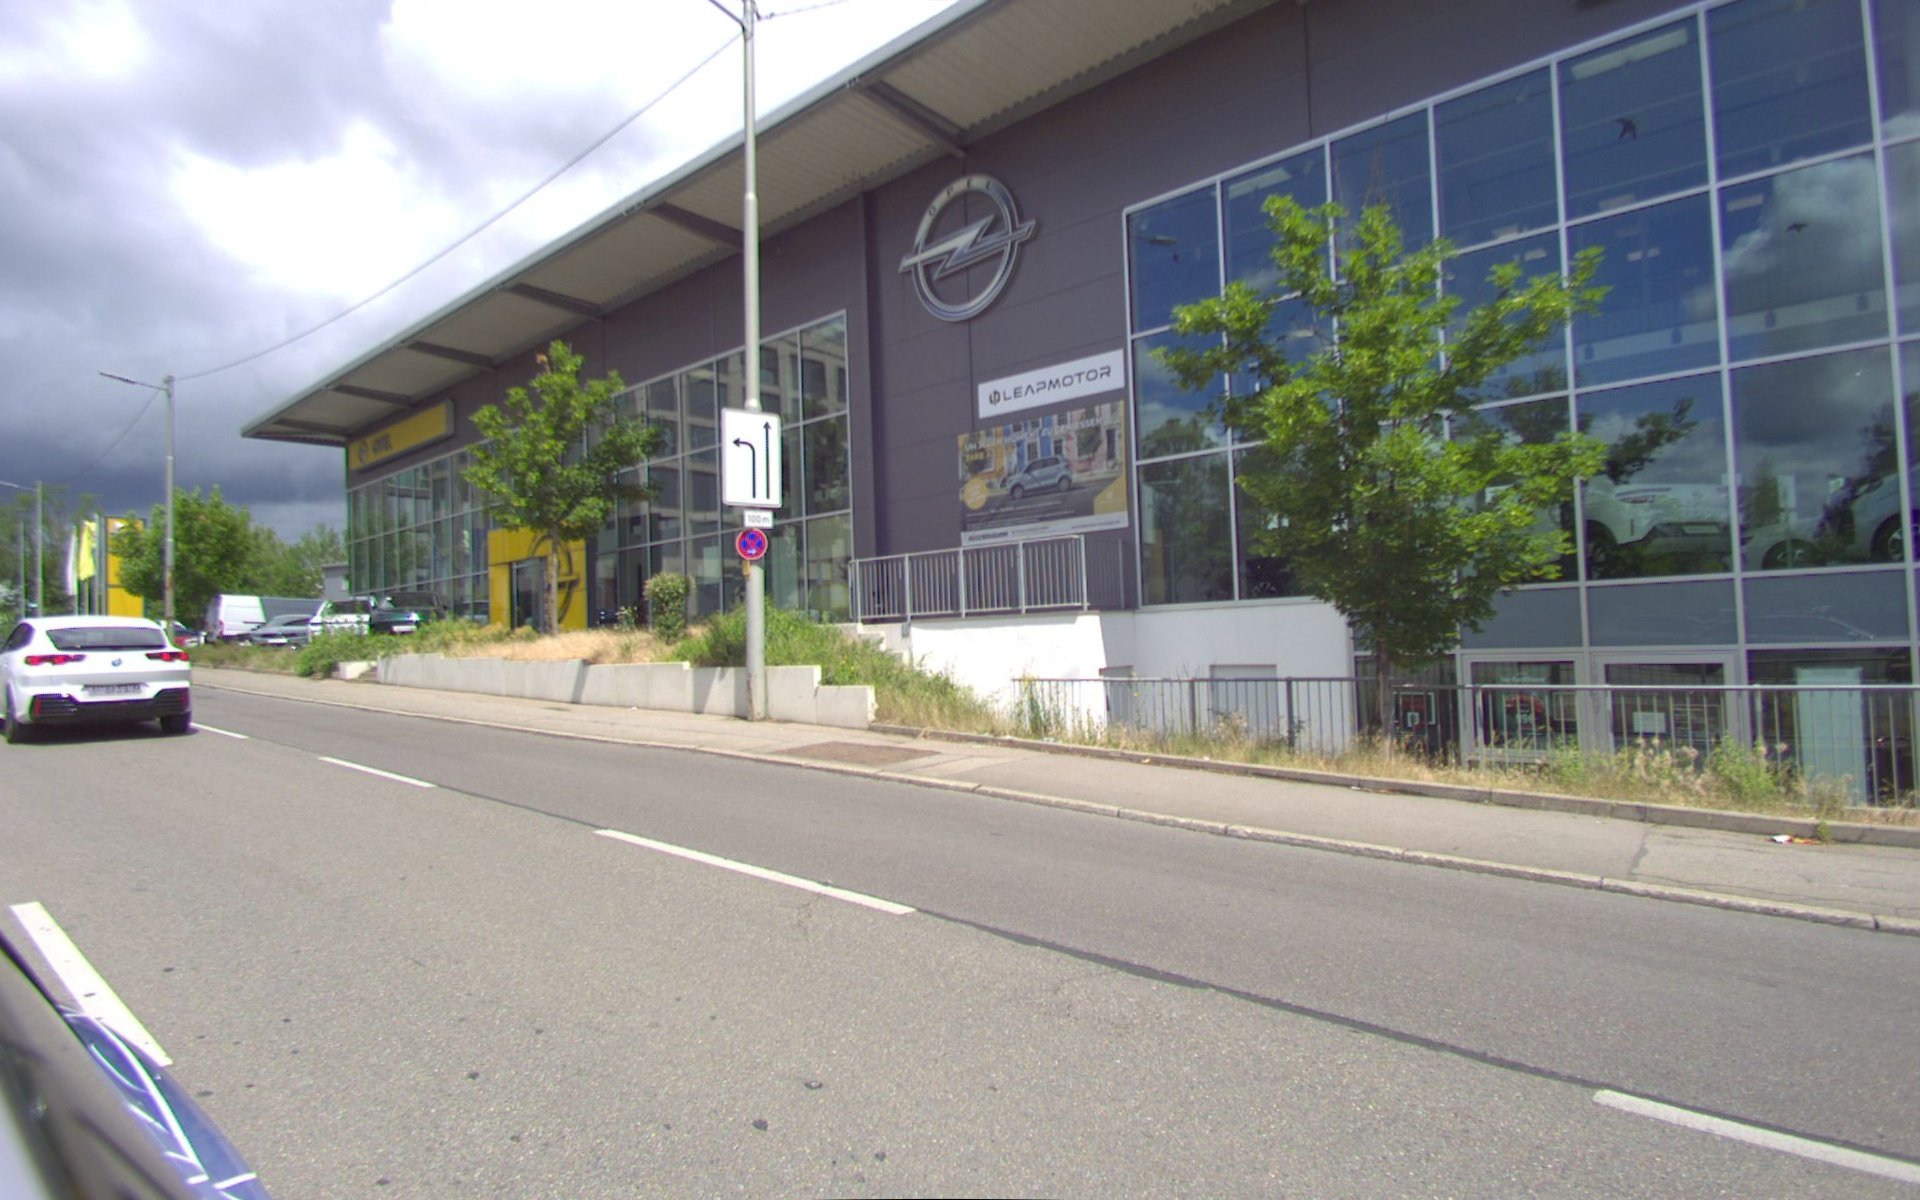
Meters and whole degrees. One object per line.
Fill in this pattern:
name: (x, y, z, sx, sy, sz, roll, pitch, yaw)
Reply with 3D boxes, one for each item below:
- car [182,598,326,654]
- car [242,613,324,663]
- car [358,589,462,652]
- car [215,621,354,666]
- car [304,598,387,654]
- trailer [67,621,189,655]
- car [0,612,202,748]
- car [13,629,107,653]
car: (-29.227, 1.064, 42.029, 2.177, 2.211, 4.475, -1, -1, 39)
car: (-23.484, 1.321, 35.231, 1.767, 1.625, 4.122, 1, -2, -26)
car: (-15.474, 0.580, 28.689, 1.791, 1.625, 4.121, -1, -1, -17)
car: (-25.736, 1.644, 38.673, 1.792, 1.625, 4.064, -2, -2, 32)
car: (-19.220, 0.799, 31.784, 1.767, 1.625, 4.122, 0, -1, -25)
trailer: (-45.329, 2.029, 55.227, 2.092, 1.765, 4.776, -2, -2, 37)
car: (-12.007, 0.963, 13.719, 4.302, 1.564, 1.809, -1, -2, 40)
car: (-57.691, 2.618, 64.936, 2.093, 1.493, 4.200, -2, -2, 38)
